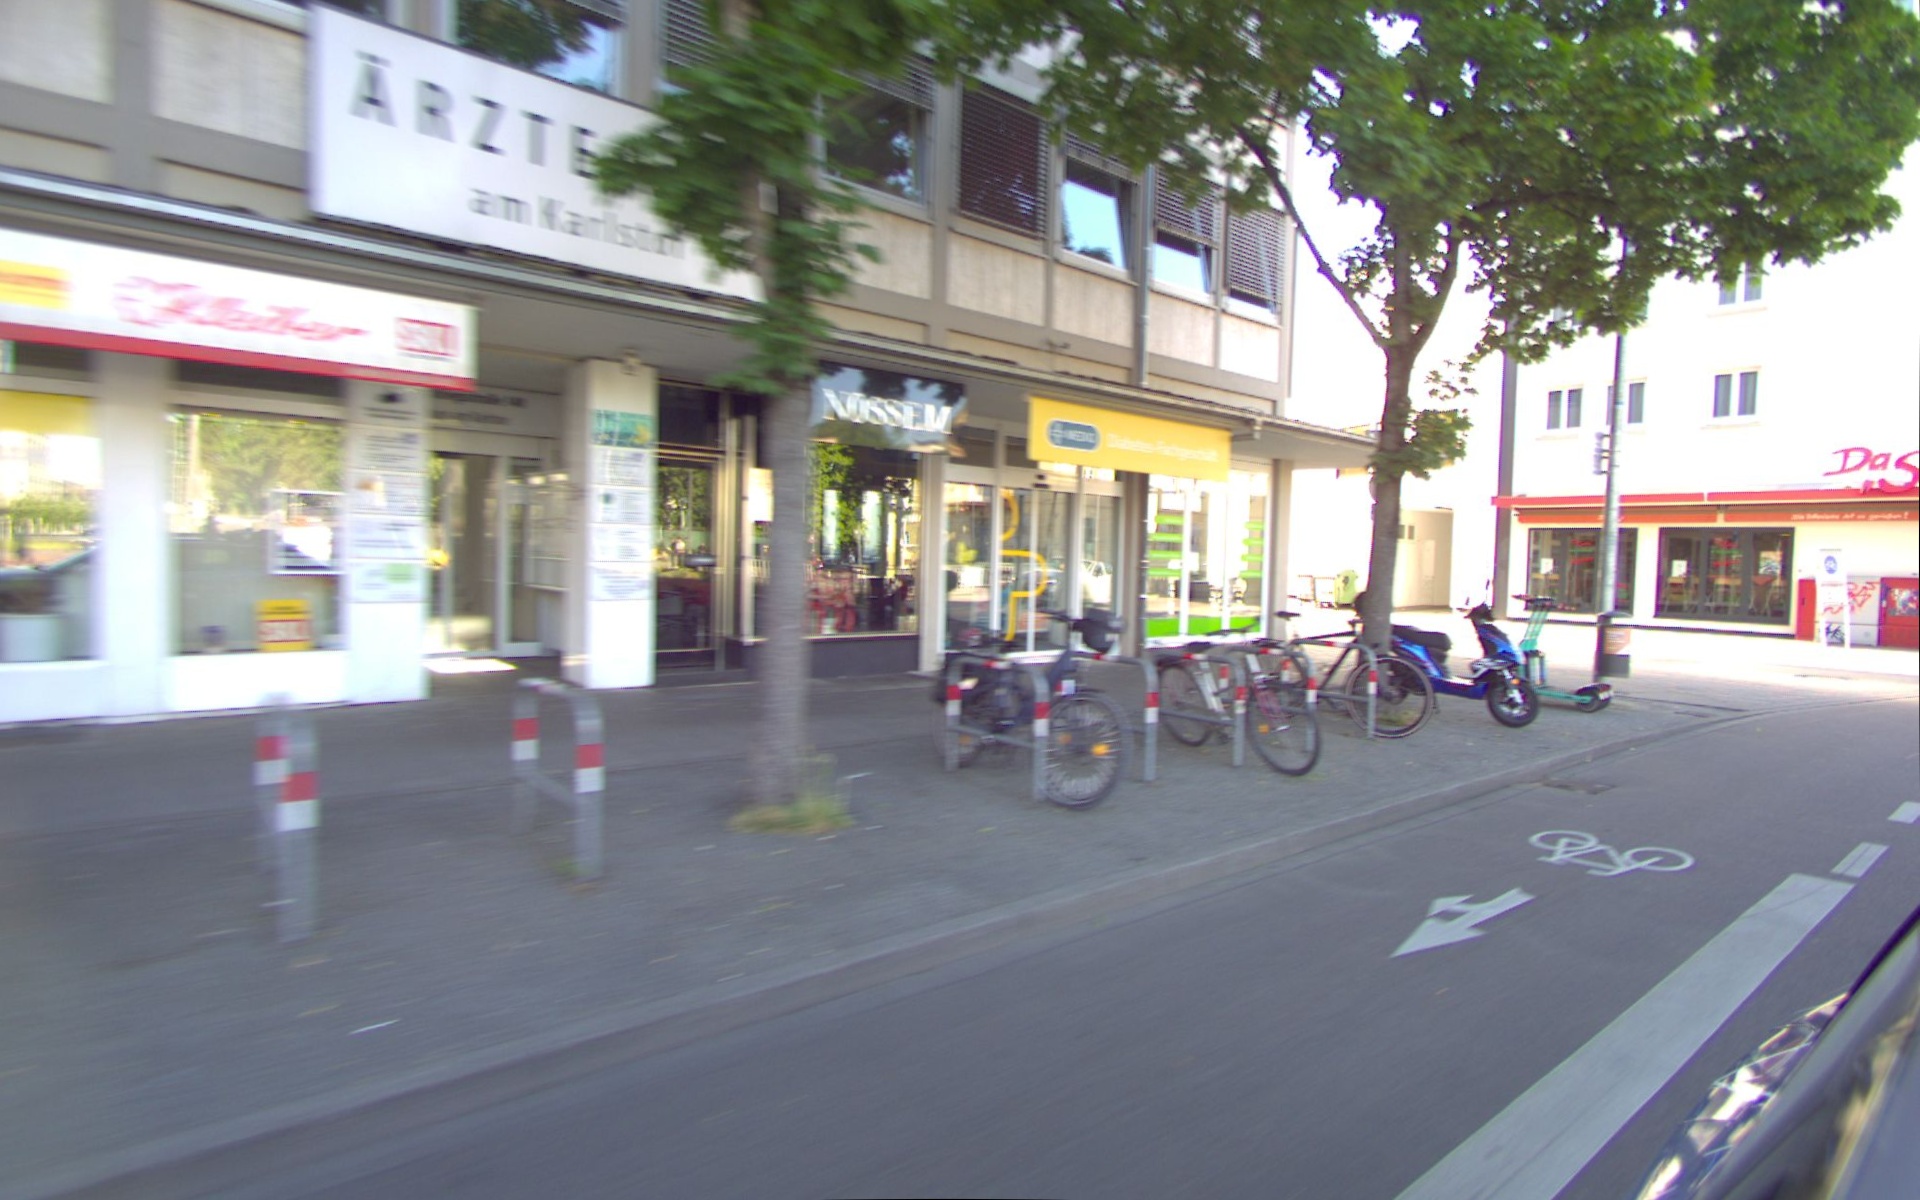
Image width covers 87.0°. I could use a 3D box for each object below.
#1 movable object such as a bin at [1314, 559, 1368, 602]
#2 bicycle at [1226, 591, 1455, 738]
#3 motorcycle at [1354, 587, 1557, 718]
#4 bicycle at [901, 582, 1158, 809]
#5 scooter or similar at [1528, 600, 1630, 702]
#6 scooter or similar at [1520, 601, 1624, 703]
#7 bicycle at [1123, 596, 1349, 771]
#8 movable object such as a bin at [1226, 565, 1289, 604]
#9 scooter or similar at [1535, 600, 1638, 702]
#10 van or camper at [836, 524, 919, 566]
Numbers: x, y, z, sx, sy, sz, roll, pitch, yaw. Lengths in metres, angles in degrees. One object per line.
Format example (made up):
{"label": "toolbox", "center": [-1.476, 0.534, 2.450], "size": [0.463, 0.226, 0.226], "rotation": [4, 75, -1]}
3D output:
{"label": "movable object such as a bin", "center": [13.421, -0.702, 35.700], "size": [1.255, 1.457, 1.223], "rotation": [0, 3, -17]}
{"label": "bicycle", "center": [3.338, 0.523, 9.022], "size": [1.849, 1.068, 0.393], "rotation": [5, 5, 42]}
{"label": "motorcycle", "center": [4.943, 0.472, 10.216], "size": [0.495, 1.143, 1.792], "rotation": [-1, 3, -37]}
{"label": "bicycle", "center": [0.369, 0.513, 6.386], "size": [0.428, 1.165, 1.813], "rotation": [-1, 4, -42]}
{"label": "scooter or similar", "center": [6.934, 0.553, 11.371], "size": [0.157, 1.052, 0.960], "rotation": [0, 3, -35]}
{"label": "scooter or similar", "center": [6.782, 0.557, 11.246], "size": [0.157, 1.039, 0.967], "rotation": [0, 3, -35]}
{"label": "bicycle", "center": [1.986, 0.550, 7.549], "size": [0.449, 1.069, 1.774], "rotation": [-1, 3, -32]}
{"label": "movable object such as a bin", "center": [10.414, -0.551, 35.498], "size": [1.388, 1.304, 1.654], "rotation": [0, 3, -17]}
{"label": "scooter or similar", "center": [7.092, 0.553, 11.484], "size": [0.157, 1.056, 0.967], "rotation": [0, 3, -35]}
{"label": "van or camper", "center": [-4.582, -3.072, 56.593], "size": [1.873, 1.972, 4.699], "rotation": [5, 2, 38]}
